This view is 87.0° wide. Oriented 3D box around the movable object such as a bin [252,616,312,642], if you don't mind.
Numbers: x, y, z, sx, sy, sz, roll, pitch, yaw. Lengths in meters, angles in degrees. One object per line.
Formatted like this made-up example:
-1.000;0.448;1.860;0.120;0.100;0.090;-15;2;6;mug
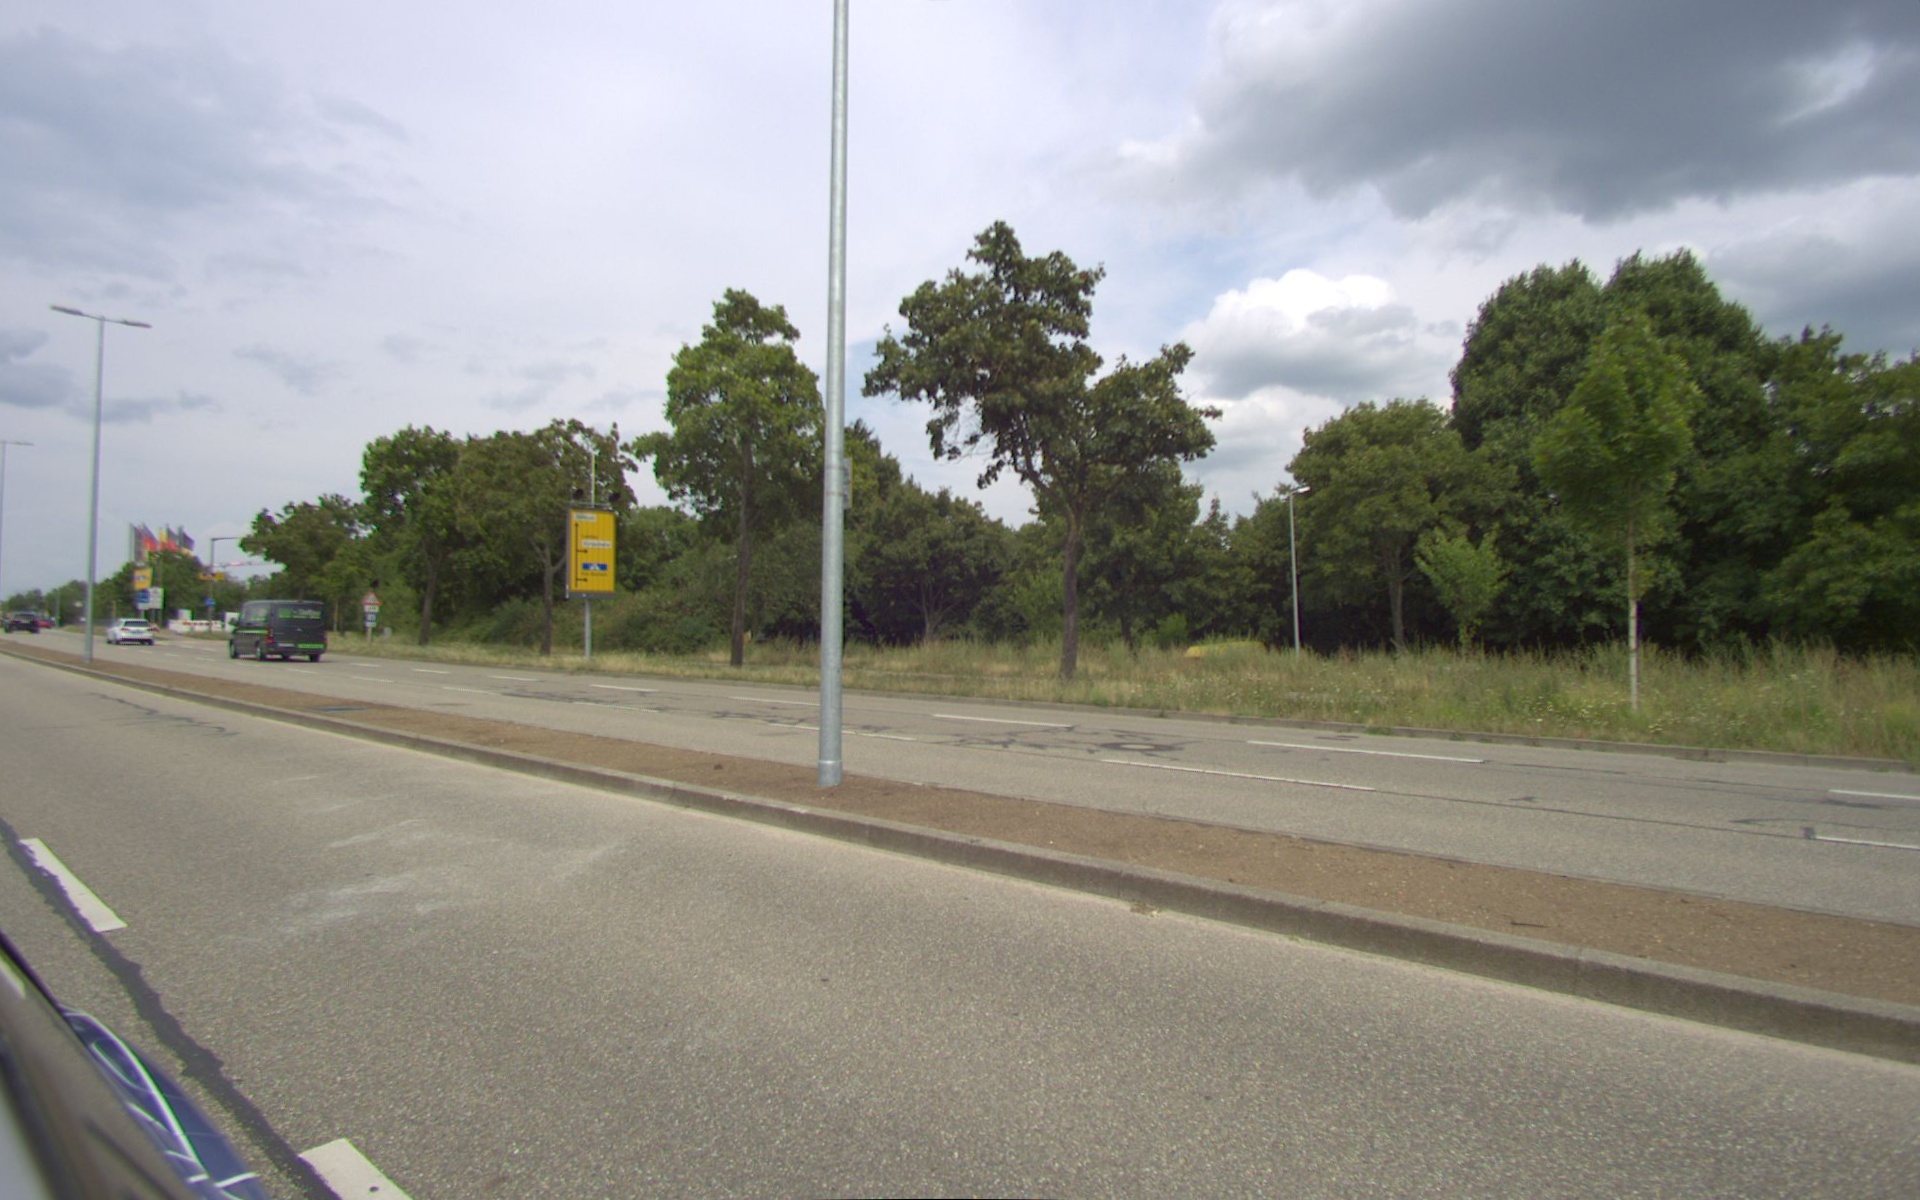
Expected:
-67.375;2.891;100.676;1.994;2.415;4.542;-2;-3;32;movable object such as a bin

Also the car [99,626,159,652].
-47.306;2.233;57.564;4.687;1.442;1.972;-2;-4;43;car

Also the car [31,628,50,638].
-128.723;4.618;141.695;4.348;1.332;1.734;-3;-3;45;car

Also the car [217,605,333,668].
-26.235;1.417;38.656;5.999;2.218;2.074;-2;-4;40;car

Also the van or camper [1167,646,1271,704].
10.675;3.016;41.602;4.299;2.029;2.003;-1;0;-40;van or camper

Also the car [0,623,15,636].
-142.632;4.397;151.158;4.538;1.823;1.882;-3;-3;42;car

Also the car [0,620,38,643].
-79.200;2.666;85.014;4.795;1.825;1.973;-3;-4;41;car
